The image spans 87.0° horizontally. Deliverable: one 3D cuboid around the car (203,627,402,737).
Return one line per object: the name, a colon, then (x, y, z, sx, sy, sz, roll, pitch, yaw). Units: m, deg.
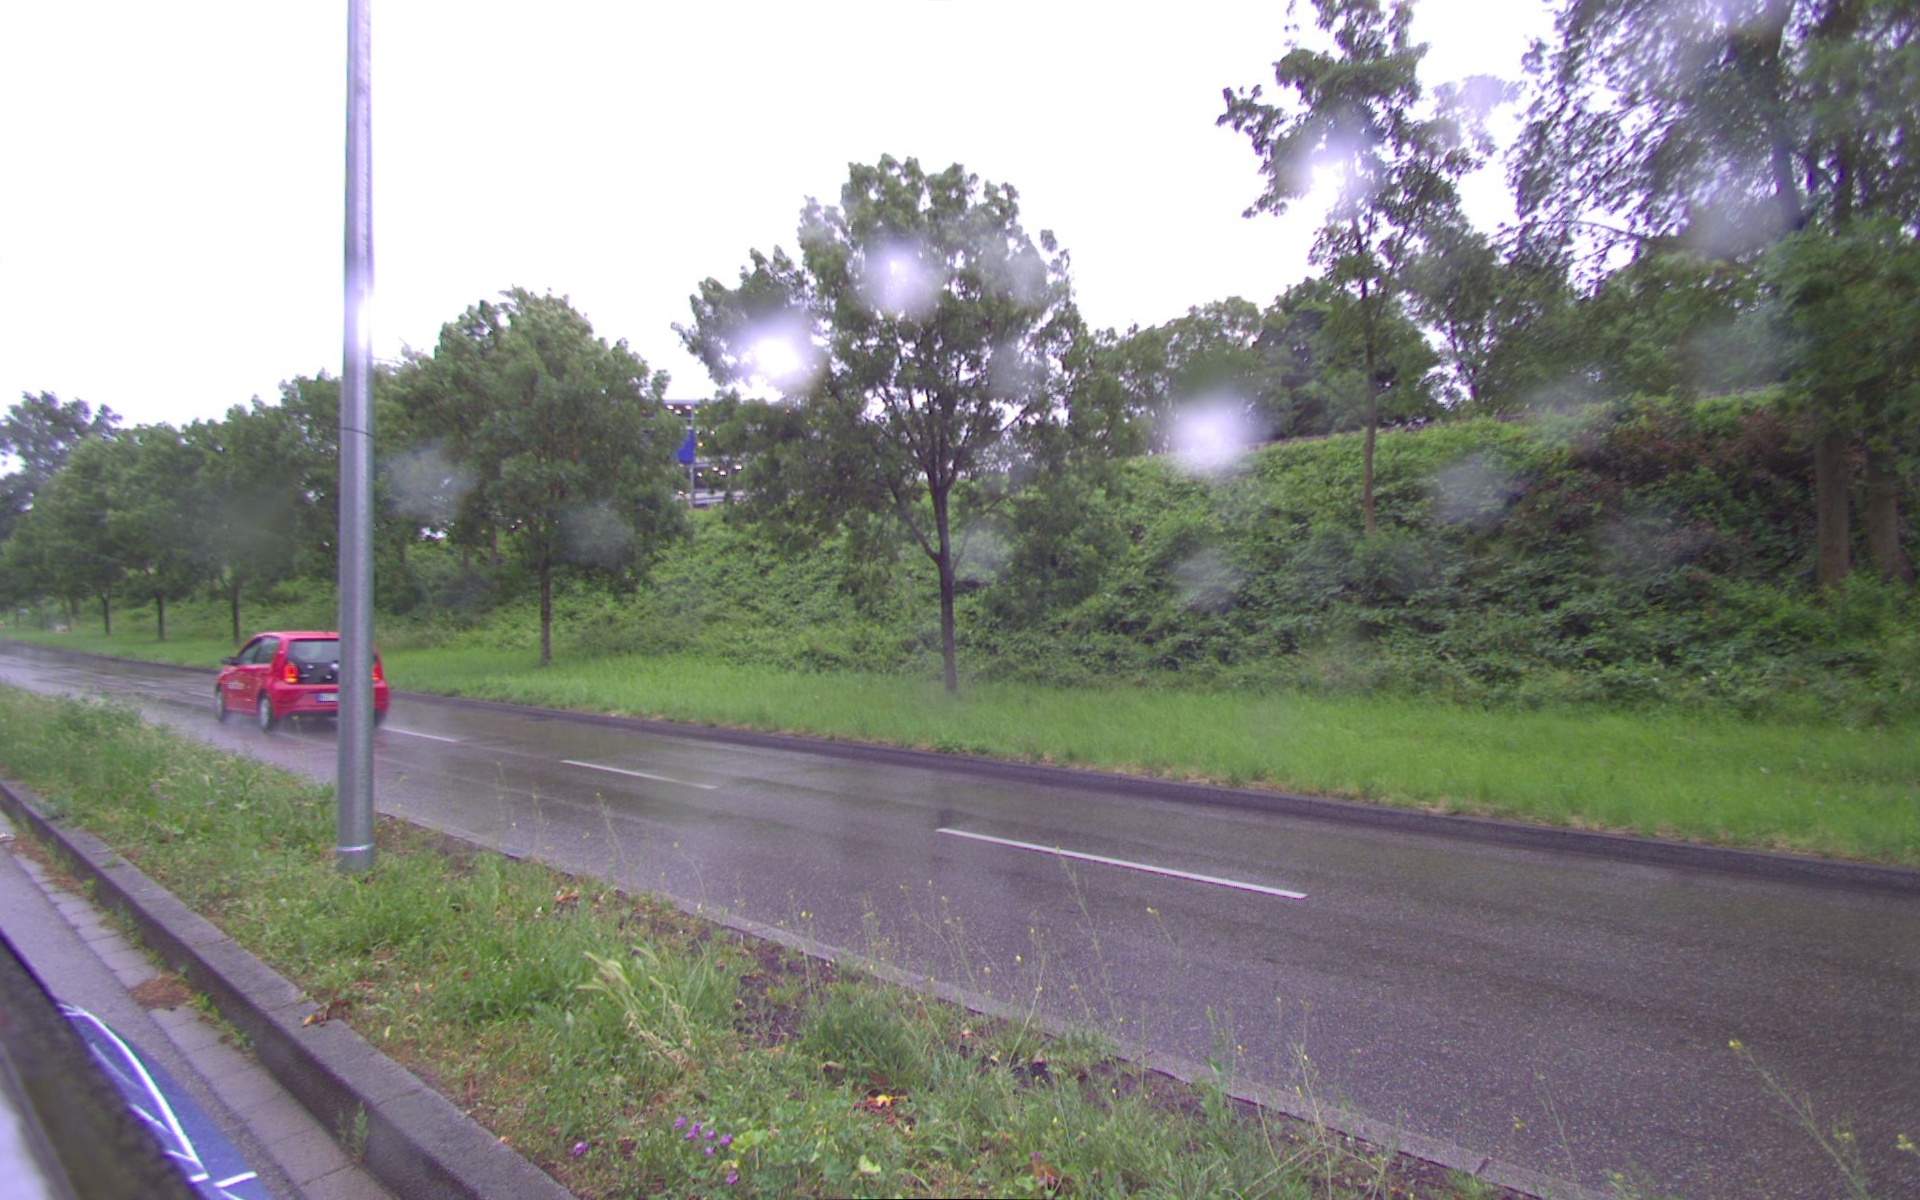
car: (-10.416, 1.221, 15.943, 3.613, 1.525, 1.697, -2, -4, 42)
